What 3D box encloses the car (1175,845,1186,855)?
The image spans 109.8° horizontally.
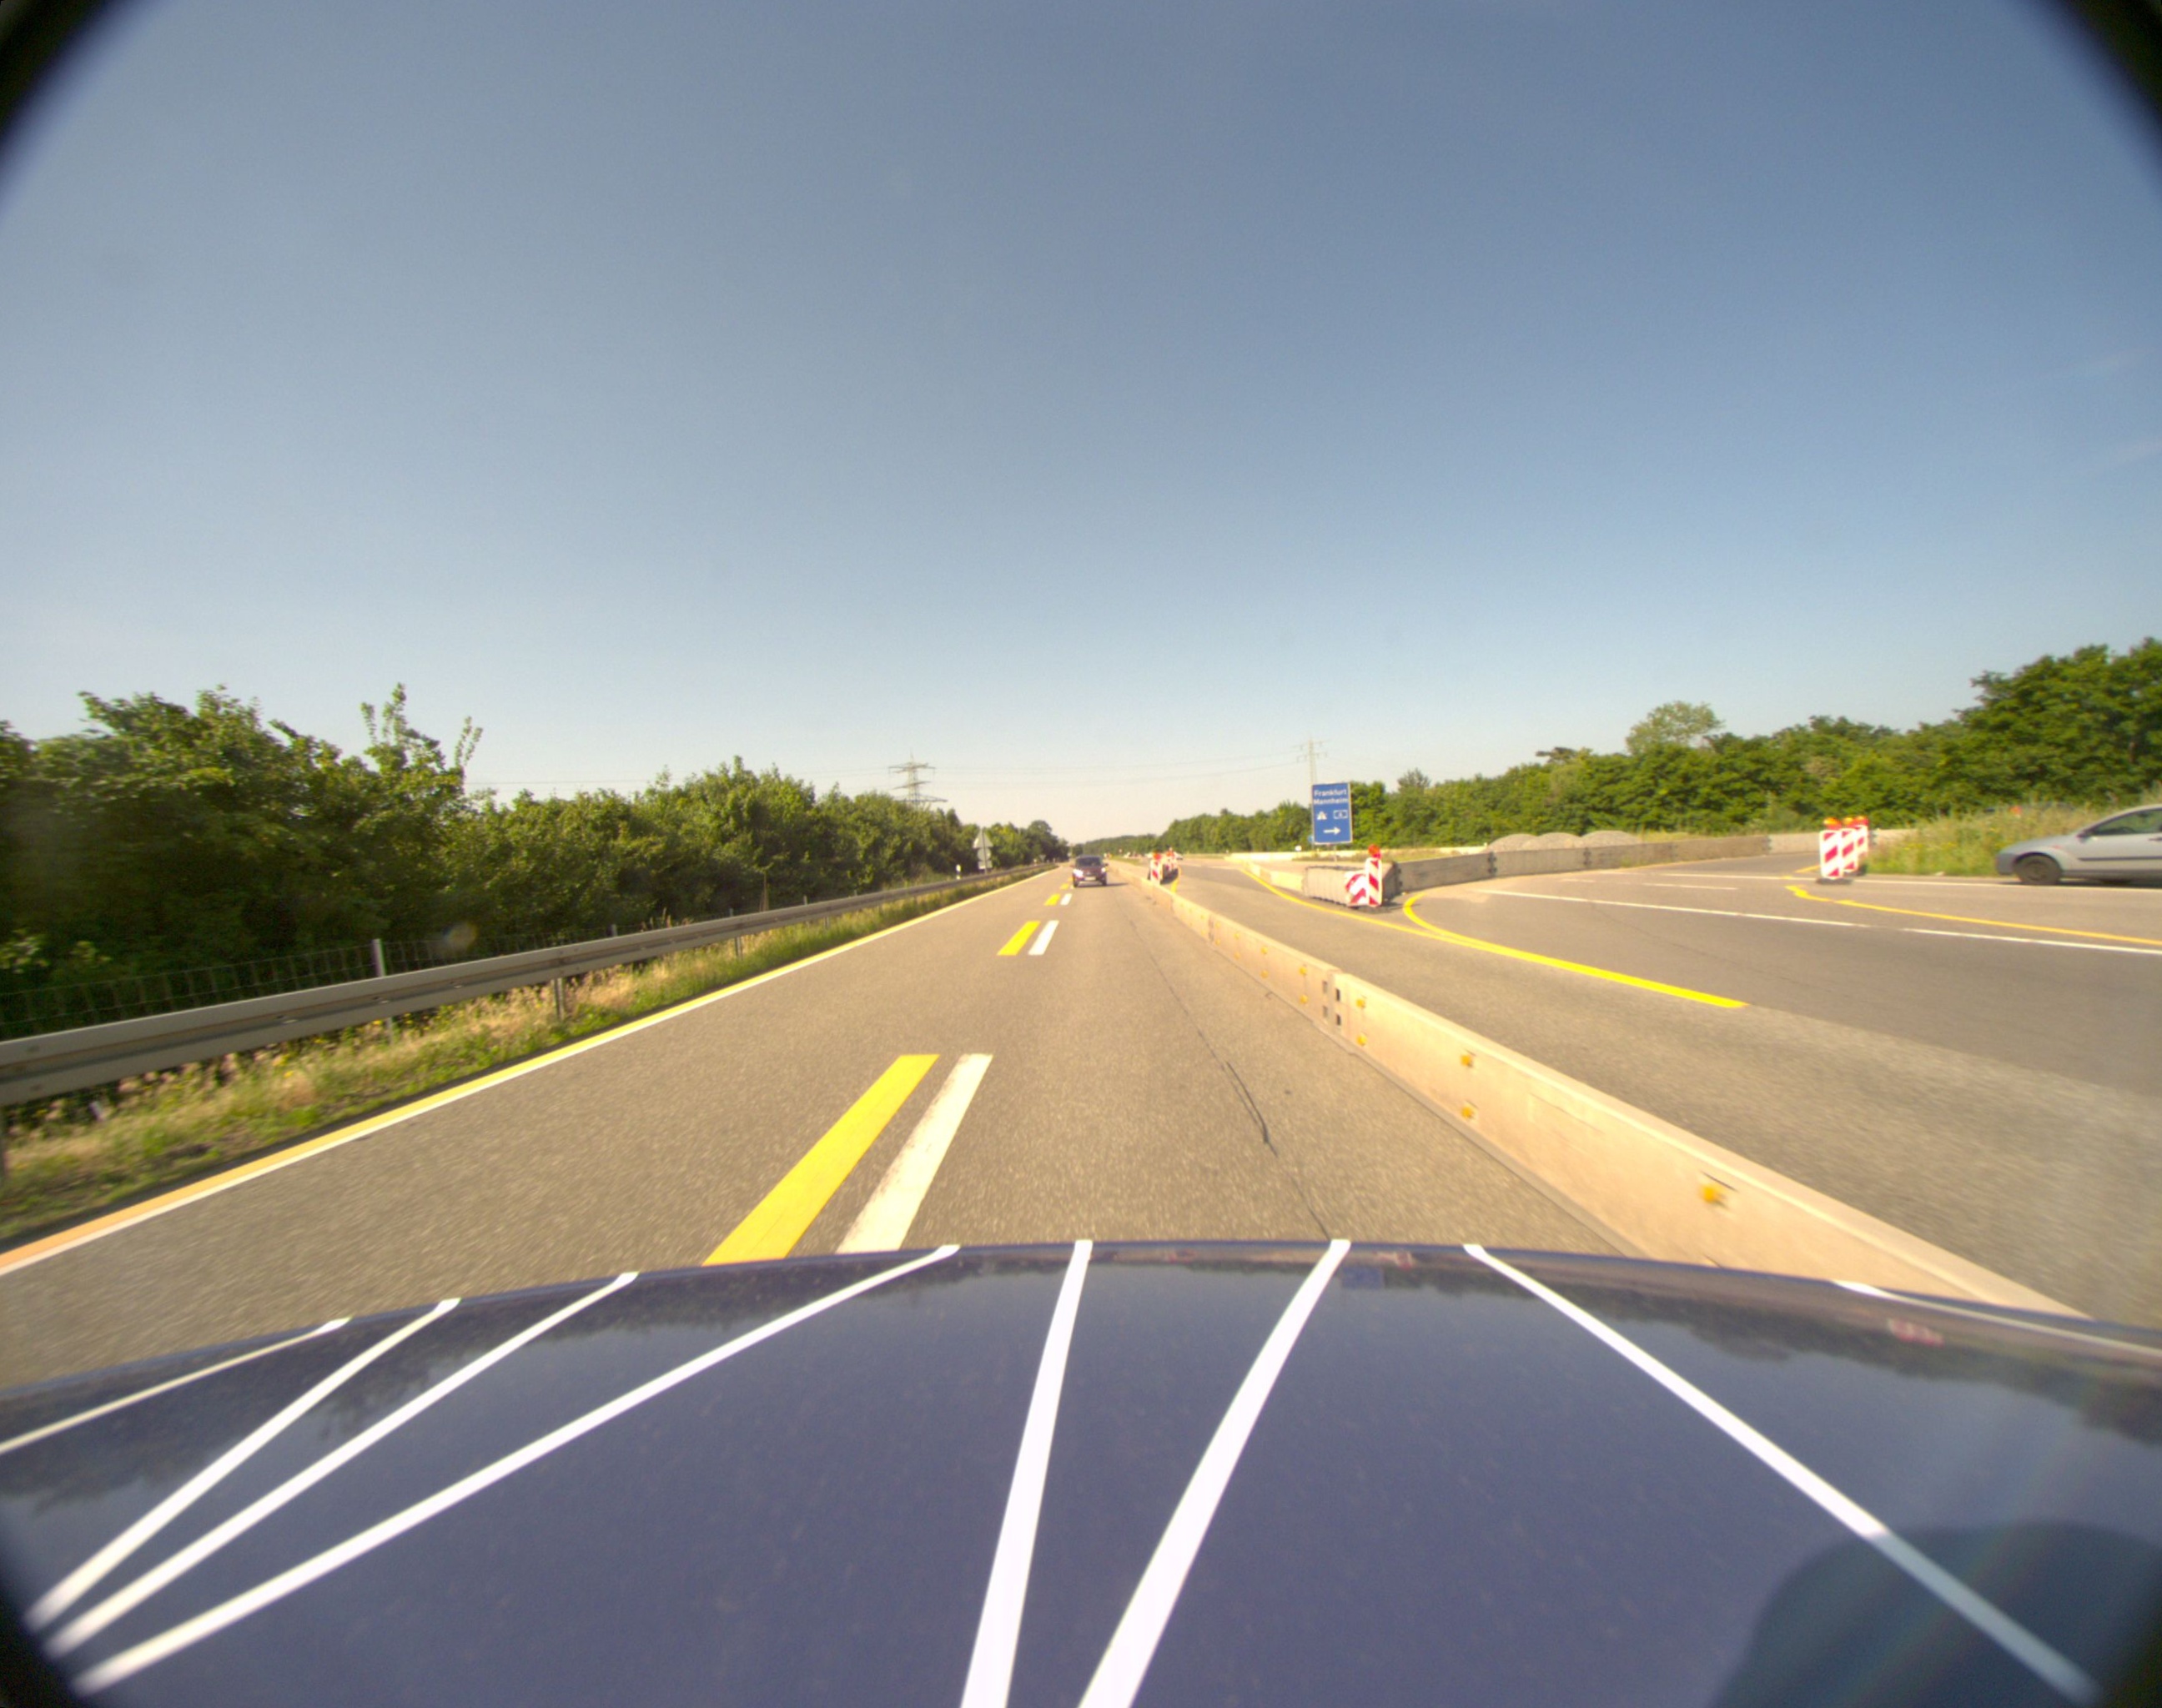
[{"bbox_3d":[16.793,-0.645,128.974,1.714,1.507,4.180,-3,0,6],"label":"car"}]

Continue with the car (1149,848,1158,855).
[{"bbox_3d":[18.661,-0.581,196.446,1.822,1.598,4.438,-2,0,-2],"label":"car"}]

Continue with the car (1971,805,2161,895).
[{"bbox_3d":[18.556,-0.107,12.841,1.867,1.451,4.294,-3,0,-3],"label":"car"}]

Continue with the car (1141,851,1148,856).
[{"bbox_3d":[19.357,-0.054,230.068,1.844,1.432,4.813,-2,0,2],"label":"car"}]

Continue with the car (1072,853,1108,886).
[{"bbox_3d":[0.492,0.755,37.591,1.587,1.491,4.417,-2,-1,2],"label":"car"}]
